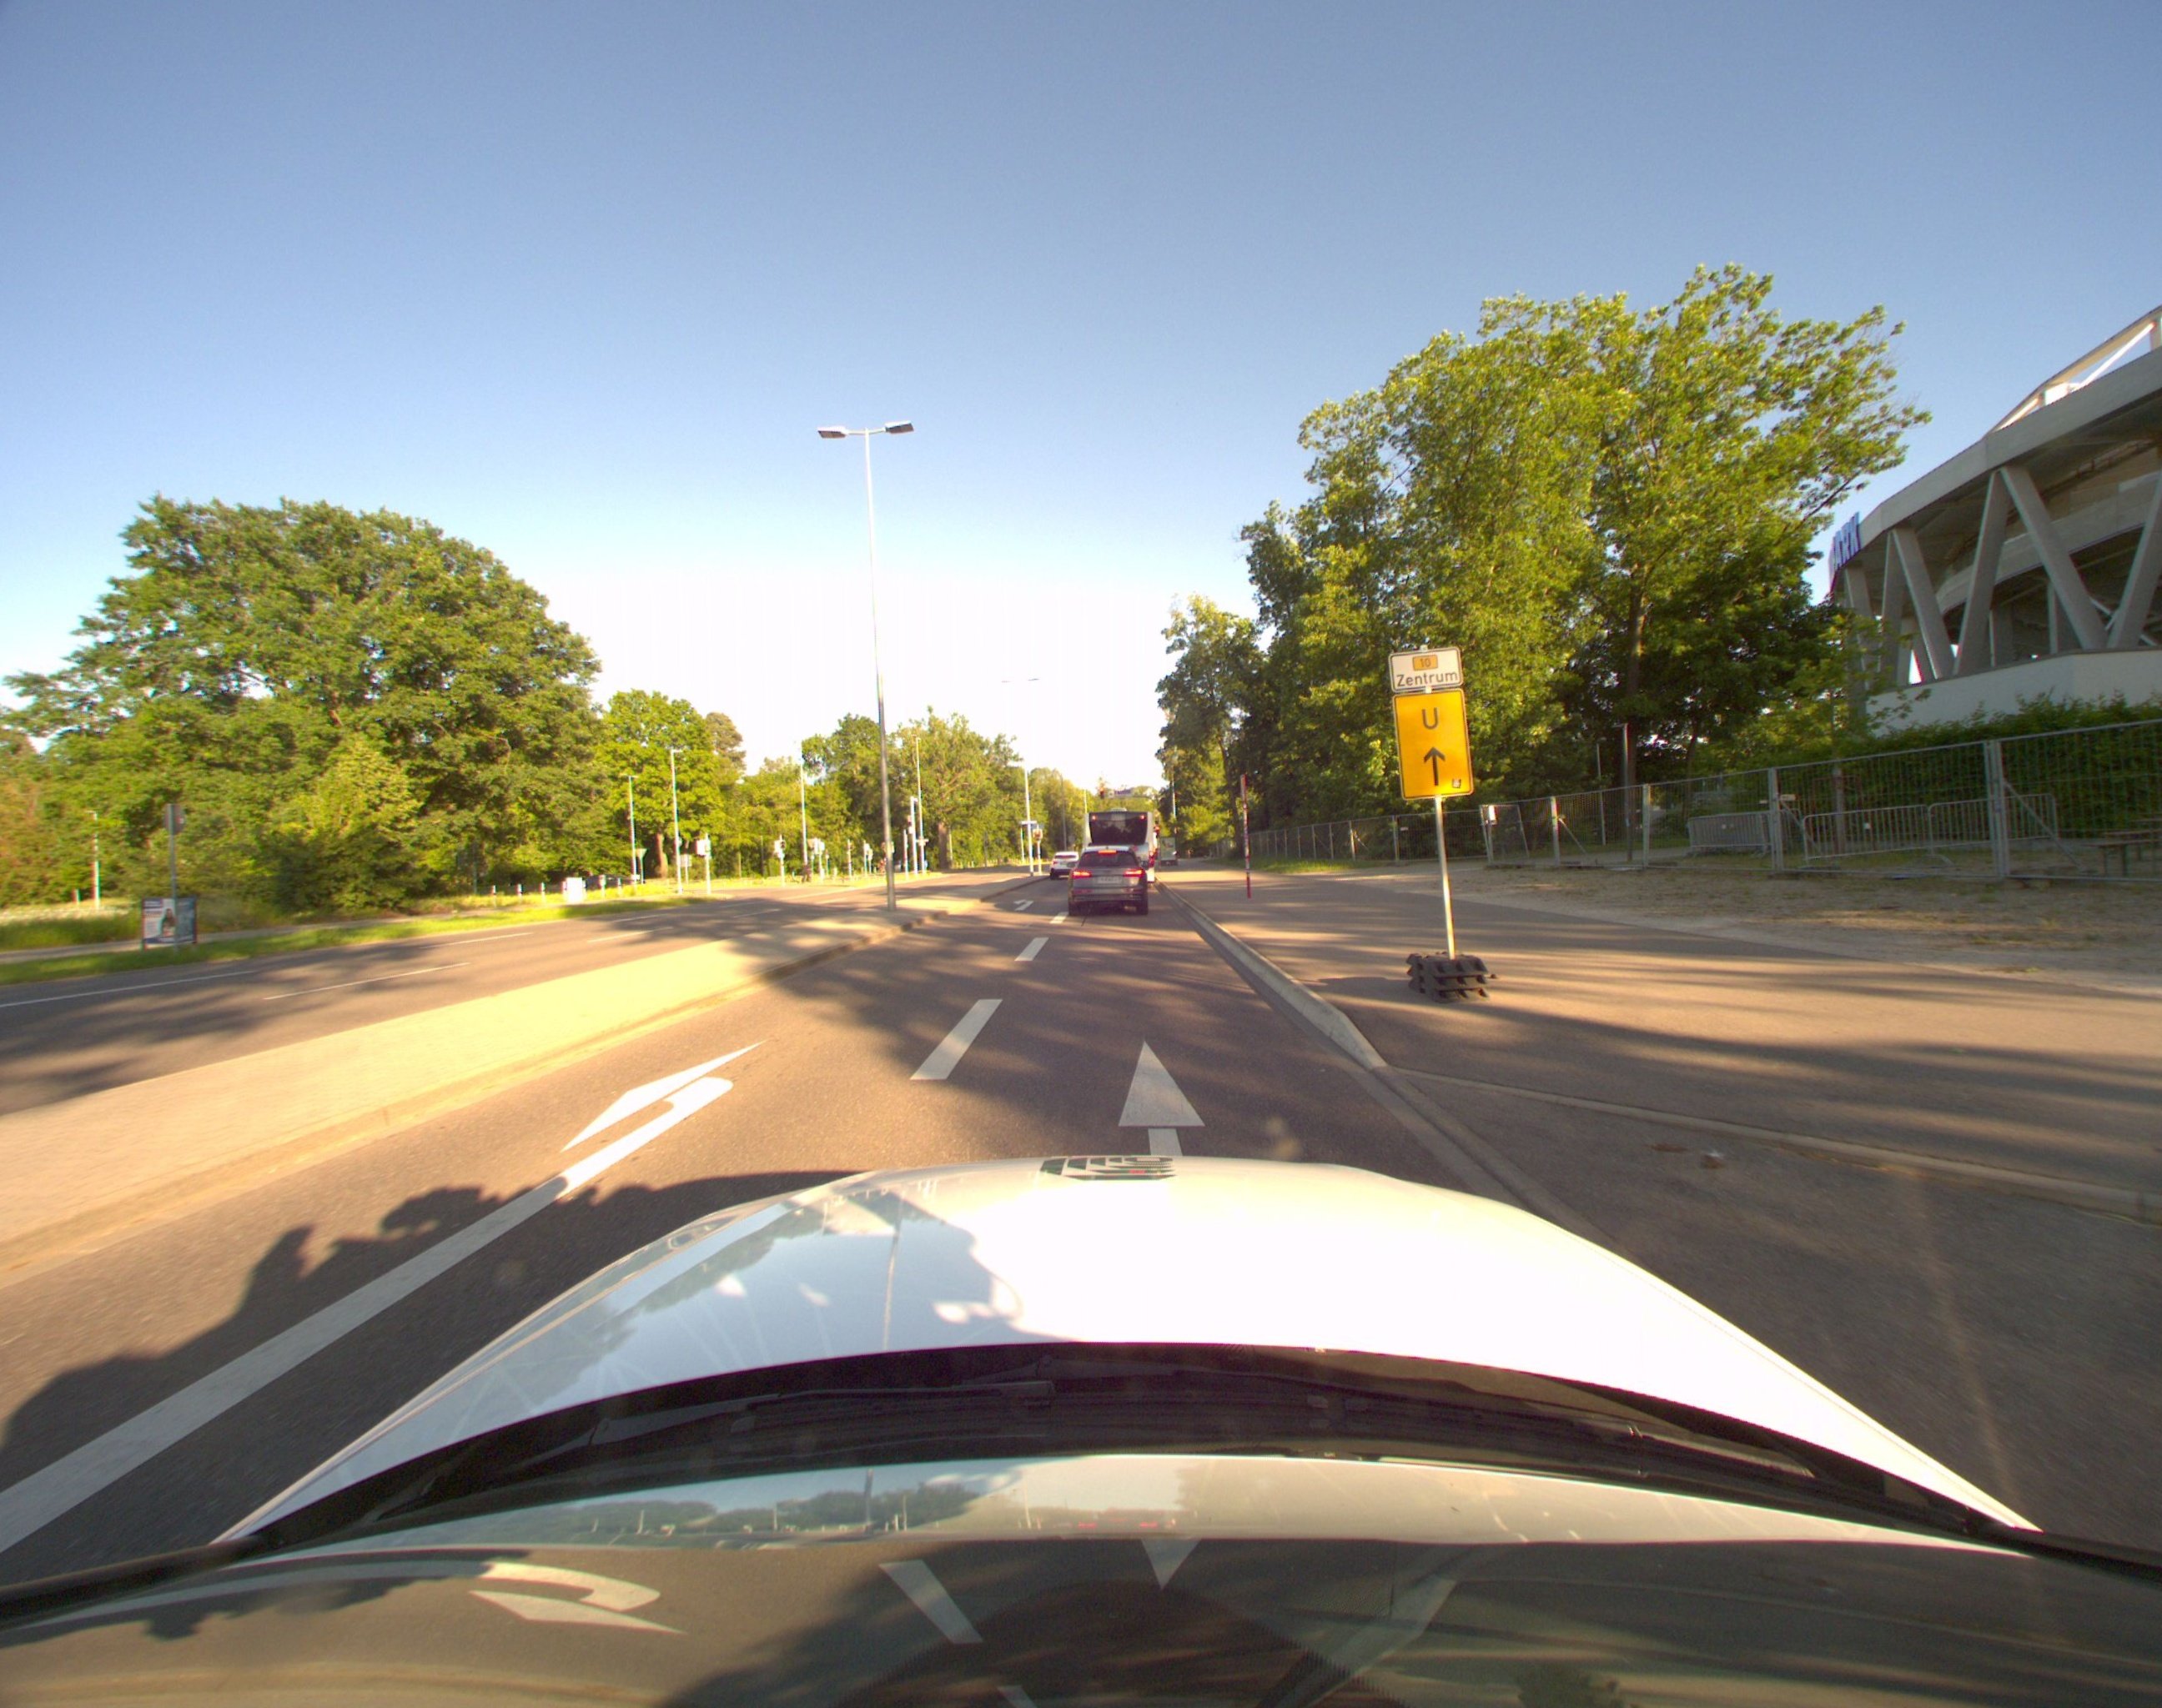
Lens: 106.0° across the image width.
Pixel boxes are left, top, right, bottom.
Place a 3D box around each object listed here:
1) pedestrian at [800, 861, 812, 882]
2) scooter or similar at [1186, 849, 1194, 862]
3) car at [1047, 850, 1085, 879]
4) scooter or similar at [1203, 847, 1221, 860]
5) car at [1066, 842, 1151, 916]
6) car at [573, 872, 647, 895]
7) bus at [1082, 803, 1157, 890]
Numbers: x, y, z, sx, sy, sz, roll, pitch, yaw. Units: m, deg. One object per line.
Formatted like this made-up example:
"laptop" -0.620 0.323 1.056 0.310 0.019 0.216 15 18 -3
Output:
"pedestrian" -21.065 1.358 62.388 0.652 1.560 0.533 -3 0 -40
"scooter or similar" 13.275 0.172 99.475 0.506 1.444 2.020 -3 0 -2
"car" -0.813 0.566 46.814 1.829 1.518 4.003 -2 0 3
"scooter or similar" 15.550 -0.081 96.892 2.024 1.444 0.601 -4 0 -22
"car" 0.716 0.558 20.282 1.891 1.632 4.003 -1 0 3
"car" -38.539 2.424 66.696 4.756 1.498 2.000 -3 0 1
"bus" 1.585 -0.233 33.314 2.584 2.989 9.333 -2 0 3
